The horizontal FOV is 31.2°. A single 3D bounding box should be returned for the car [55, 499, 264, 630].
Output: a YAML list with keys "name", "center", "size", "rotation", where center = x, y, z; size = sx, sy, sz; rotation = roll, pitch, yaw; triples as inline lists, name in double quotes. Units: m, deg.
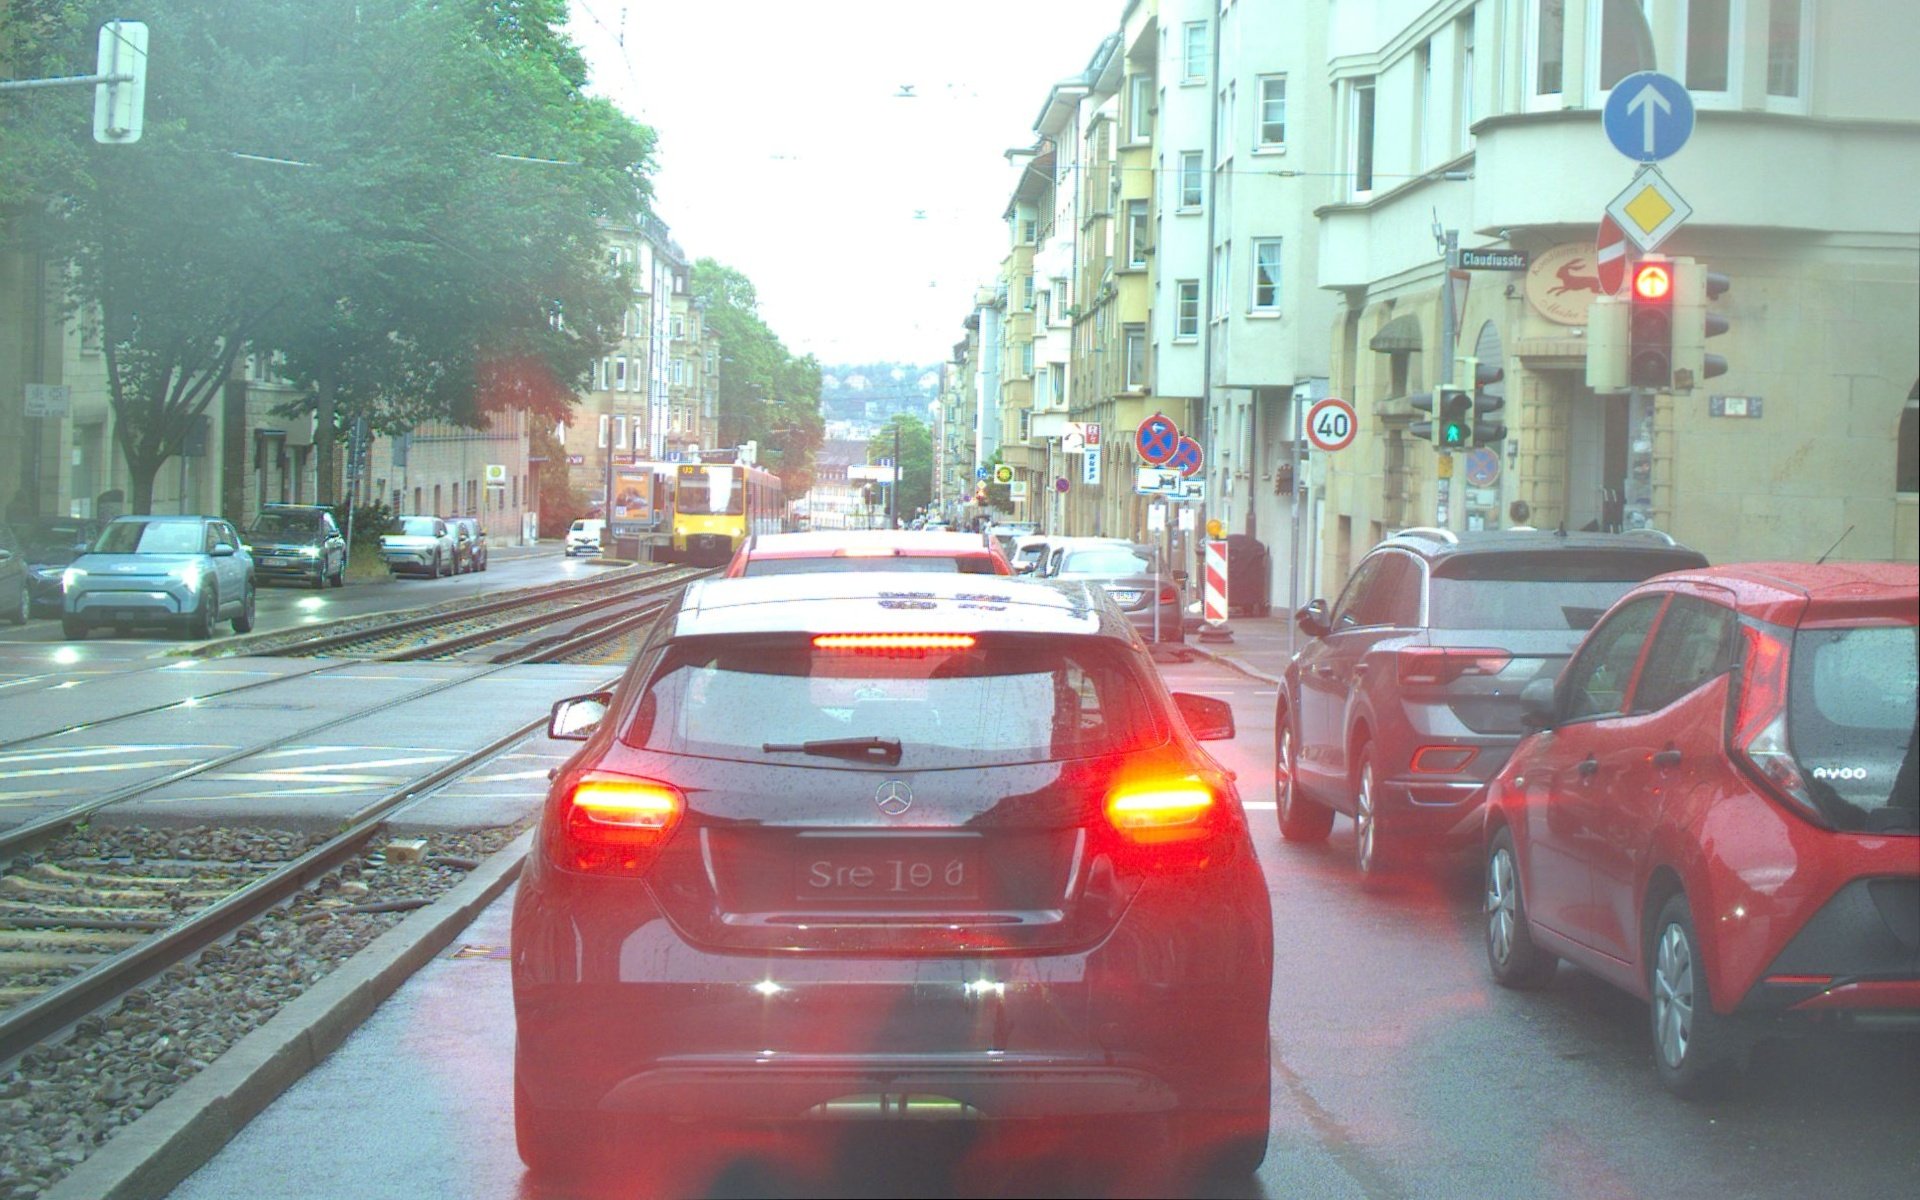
- name: "car"
  center: [-10.423, -0.466, 45.047]
  size: [1.921, 1.612, 4.129]
  rotation: [1, 1, -2]

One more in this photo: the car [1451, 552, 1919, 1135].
- name: "car"
  center: [2.720, 0.614, 10.513]
  size: [1.705, 1.448, 3.533]
  rotation: [2, 1, -3]

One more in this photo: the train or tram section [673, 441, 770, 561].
- name: "train or tram section"
  center: [-8.598, -3.580, 125.598]
  size: [2.745, 4.048, 17.216]
  rotation: [1, 1, -2]

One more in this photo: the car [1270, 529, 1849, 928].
- name: "car"
  center: [2.586, 0.482, 15.784]
  size: [1.867, 1.543, 3.991]
  rotation: [2, 1, -1]

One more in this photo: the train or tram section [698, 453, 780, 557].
- name: "train or tram section"
  center: [-9.043, -3.900, 141.895]
  size: [2.745, 4.048, 15.663]
  rotation: [1, 1, -2]

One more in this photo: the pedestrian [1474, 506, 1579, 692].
- name: "pedestrian"
  center: [5.210, -0.009, 31.659]
  size: [0.804, 1.681, 0.754]
  rotation: [1, 0, -1]

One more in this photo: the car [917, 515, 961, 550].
- name: "car"
  center: [-0.977, -3.123, 159.137]
  size: [1.887, 1.520, 4.245]
  rotation: [2, 1, 1]

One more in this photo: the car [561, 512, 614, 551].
- name: "car"
  center: [-14.832, -2.715, 137.010]
  size: [1.780, 1.497, 4.063]
  rotation: [1, 1, -2]

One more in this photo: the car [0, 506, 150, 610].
- name: "car"
  center: [-13.461, -0.624, 51.248]
  size: [1.780, 1.455, 4.979]
  rotation: [1, 1, -2]

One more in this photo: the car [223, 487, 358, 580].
- name: "car"
  center: [-13.966, -1.413, 71.959]
  size: [1.953, 1.736, 4.780]
  rotation: [4, 2, -2]

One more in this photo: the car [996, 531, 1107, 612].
- name: "car"
  center: [1.613, -0.516, 61.905]
  size: [1.789, 1.381, 4.395]
  rotation: [1, 1, -1]

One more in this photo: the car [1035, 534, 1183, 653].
- name: "car"
  center: [1.840, -0.102, 43.621]
  size: [1.711, 1.405, 4.817]
  rotation: [1, 1, 1]

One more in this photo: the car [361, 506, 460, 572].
- name: "car"
  center: [-14.255, -1.602, 89.353]
  size: [1.961, 1.600, 4.329]
  rotation: [2, 2, -2]

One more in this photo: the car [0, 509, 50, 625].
- name: "car"
  center: [-13.417, -0.450, 45.693]
  size: [1.689, 1.524, 4.176]
  rotation: [1, 1, -2]

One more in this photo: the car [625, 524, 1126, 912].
- name: "car"
  center: [-0.367, 0.443, 16.130]
  size: [1.993, 1.520, 4.246]
  rotation: [2, 1, -1]

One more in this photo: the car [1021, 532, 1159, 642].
- name: "car"
  center: [1.805, -0.200, 48.988]
  size: [1.712, 1.463, 4.774]
  rotation: [1, 1, -1]

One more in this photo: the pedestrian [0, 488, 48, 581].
- name: "pedestrian"
  center: [-16.940, -1.188, 62.052]
  size: [0.728, 1.657, 0.771]
  rotation: [2, 1, -1]

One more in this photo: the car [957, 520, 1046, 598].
- name: "car"
  center: [0.925, -0.886, 74.523]
  size: [1.841, 1.602, 4.760]
  rotation: [1, 1, 1]

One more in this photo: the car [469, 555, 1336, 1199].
- name: "car"
  center: [-0.147, 0.629, 9.324]
  size: [1.834, 1.448, 3.902]
  rotation: [1, 1, -1]

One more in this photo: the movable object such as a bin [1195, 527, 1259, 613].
- name: "movable object such as a bin"
  center: [4.642, -0.526, 59.846]
  size: [0.980, 1.463, 1.273]
  rotation: [1, 0, -1]
